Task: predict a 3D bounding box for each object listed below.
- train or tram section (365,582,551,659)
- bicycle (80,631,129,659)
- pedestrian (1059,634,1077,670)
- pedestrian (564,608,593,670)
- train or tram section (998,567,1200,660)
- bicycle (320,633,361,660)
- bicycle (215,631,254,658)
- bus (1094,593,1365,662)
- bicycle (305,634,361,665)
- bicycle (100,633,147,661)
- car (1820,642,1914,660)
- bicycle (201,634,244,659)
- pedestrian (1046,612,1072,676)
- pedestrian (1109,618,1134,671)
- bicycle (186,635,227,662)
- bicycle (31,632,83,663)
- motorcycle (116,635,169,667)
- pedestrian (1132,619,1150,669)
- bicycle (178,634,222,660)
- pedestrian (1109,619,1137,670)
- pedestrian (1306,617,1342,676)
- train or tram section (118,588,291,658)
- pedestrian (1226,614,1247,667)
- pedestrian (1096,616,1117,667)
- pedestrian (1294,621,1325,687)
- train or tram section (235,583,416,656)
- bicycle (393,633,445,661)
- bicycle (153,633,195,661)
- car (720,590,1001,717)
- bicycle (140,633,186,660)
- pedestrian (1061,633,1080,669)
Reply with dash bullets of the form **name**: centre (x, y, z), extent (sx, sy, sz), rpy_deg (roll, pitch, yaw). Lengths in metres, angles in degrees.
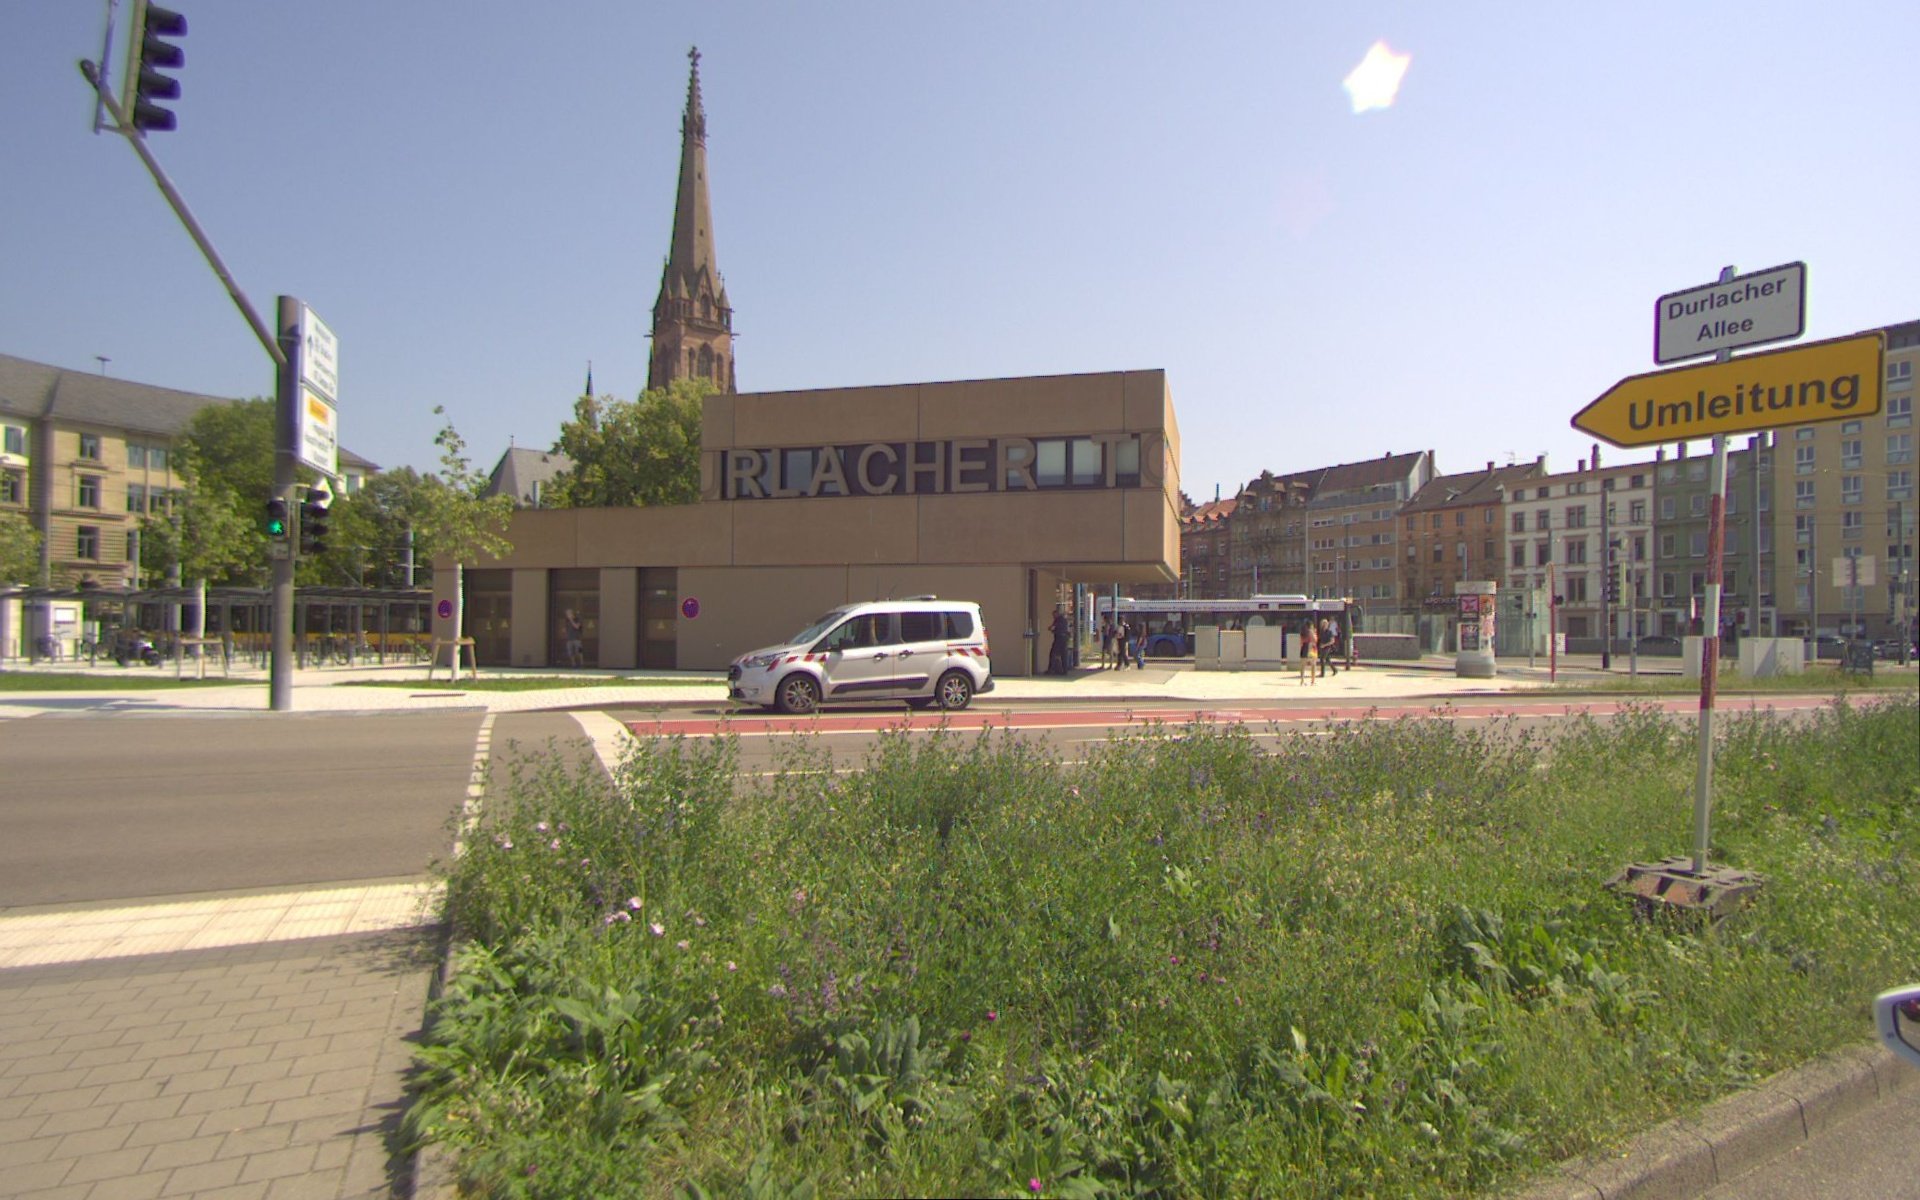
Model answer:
- **train or tram section**: centre (-25.341, 1.141, 50.784), extent (8.355, 3.644, 3.164), rpy_deg (-1, -3, 15)
- **bicycle**: centre (-32.368, 1.709, 38.007), extent (1.735, 1.054, 0.527), rpy_deg (-1, -2, 17)
- **pedestrian**: centre (3.314, 1.585, 30.756), extent (0.490, 1.098, 0.541), rpy_deg (0, -1, 14)
- **pedestrian**: centre (-10.665, 1.082, 28.078), extent (0.525, 1.700, 0.569), rpy_deg (0, -2, 14)
- **train or tram section**: centre (5.924, 0.680, 42.516), extent (8.079, 3.616, 3.147), rpy_deg (-1, -3, 15)
- **bicycle**: centre (-24.501, 1.827, 39.719), extent (1.608, 1.054, 0.413), rpy_deg (-1, -2, 17)
- **bicycle**: centre (-29.530, 1.807, 40.883), extent (1.608, 1.054, 0.413), rpy_deg (-1, -2, 17)
- **bus**: centre (12.775, 1.280, 48.401), extent (12.231, 3.111, 3.108), rpy_deg (0, -2, 15)
- **bicycle**: centre (-21.823, 1.728, 34.987), extent (1.699, 1.054, 0.514), rpy_deg (0, -2, 8)
- **bicycle**: centre (-32.239, 1.812, 38.703), extent (1.735, 1.054, 0.527), rpy_deg (-1, -2, 17)
- **car**: centre (53.697, 3.017, 59.531), extent (1.699, 1.000, 3.859), rpy_deg (2, -2, -34)
- **bicycle**: centre (-31.384, 1.986, 42.756), extent (1.735, 1.054, 0.527), rpy_deg (-1, -2, 17)
- **pedestrian**: centre (2.660, 1.178, 27.021), extent (0.620, 1.711, 0.747), rpy_deg (0, -1, 12)
- **pedestrian**: centre (5.057, 1.393, 31.458), extent (0.679, 1.635, 0.639), rpy_deg (0, -1, 20)
- **bicycle**: centre (-29.705, 1.921, 39.571), extent (1.608, 1.054, 0.413), rpy_deg (-1, -2, 17)
- **bicycle**: centre (-32.885, 1.722, 36.578), extent (1.828, 1.096, 0.527), rpy_deg (-1, -2, 17)
- **motorcycle**: centre (-27.699, 1.720, 34.020), extent (1.744, 1.083, 0.491), rpy_deg (-1, -2, 18)
- **pedestrian**: centre (6.015, 1.443, 33.340), extent (0.559, 1.635, 0.492), rpy_deg (0, -1, 12)
- **bicycle**: centre (-31.466, 1.935, 41.572), extent (1.735, 1.054, 0.527), rpy_deg (-1, -2, 17)
- **pedestrian**: centre (5.533, 1.505, 34.131), extent (0.797, 1.691, 0.549), rpy_deg (1, -1, -19)
- **pedestrian**: centre (10.893, 1.382, 30.055), extent (0.796, 1.725, 0.644), rpy_deg (1, -1, -18)
- **train or tram section**: centre (-41.382, 1.325, 55.089), extent (8.161, 3.606, 3.140), rpy_deg (-1, -3, 15)
- **pedestrian**: centre (9.391, 1.376, 34.106), extent (0.540, 1.786, 0.697), rpy_deg (0, -1, 1)
- **pedestrian**: centre (4.798, 1.344, 32.814), extent (0.502, 1.635, 0.489), rpy_deg (-1, -2, 38)
- **pedestrian**: centre (9.458, 1.447, 27.189), extent (0.616, 1.725, 0.786), rpy_deg (3, -1, 26)
- **train or tram section**: centre (-33.400, 1.119, 52.957), extent (8.355, 3.644, 3.164), rpy_deg (-1, -3, 15)
- **bicycle**: centre (-20.588, 1.785, 38.206), extent (1.700, 1.054, 0.513), rpy_deg (0, -2, 2)
- **bicycle**: centre (-30.235, 1.798, 38.616), extent (1.608, 1.054, 0.413), rpy_deg (-1, -2, 17)
- **car**: centre (-1.662, 0.895, 16.740), extent (4.275, 1.884, 1.989), rpy_deg (1, -4, -25)
- **bicycle**: centre (-32.012, 1.871, 40.343), extent (1.735, 1.054, 0.527), rpy_deg (-1, -2, 17)
- **pedestrian**: centre (3.447, 1.584, 31.306), extent (0.490, 1.098, 0.541), rpy_deg (0, -1, 14)
